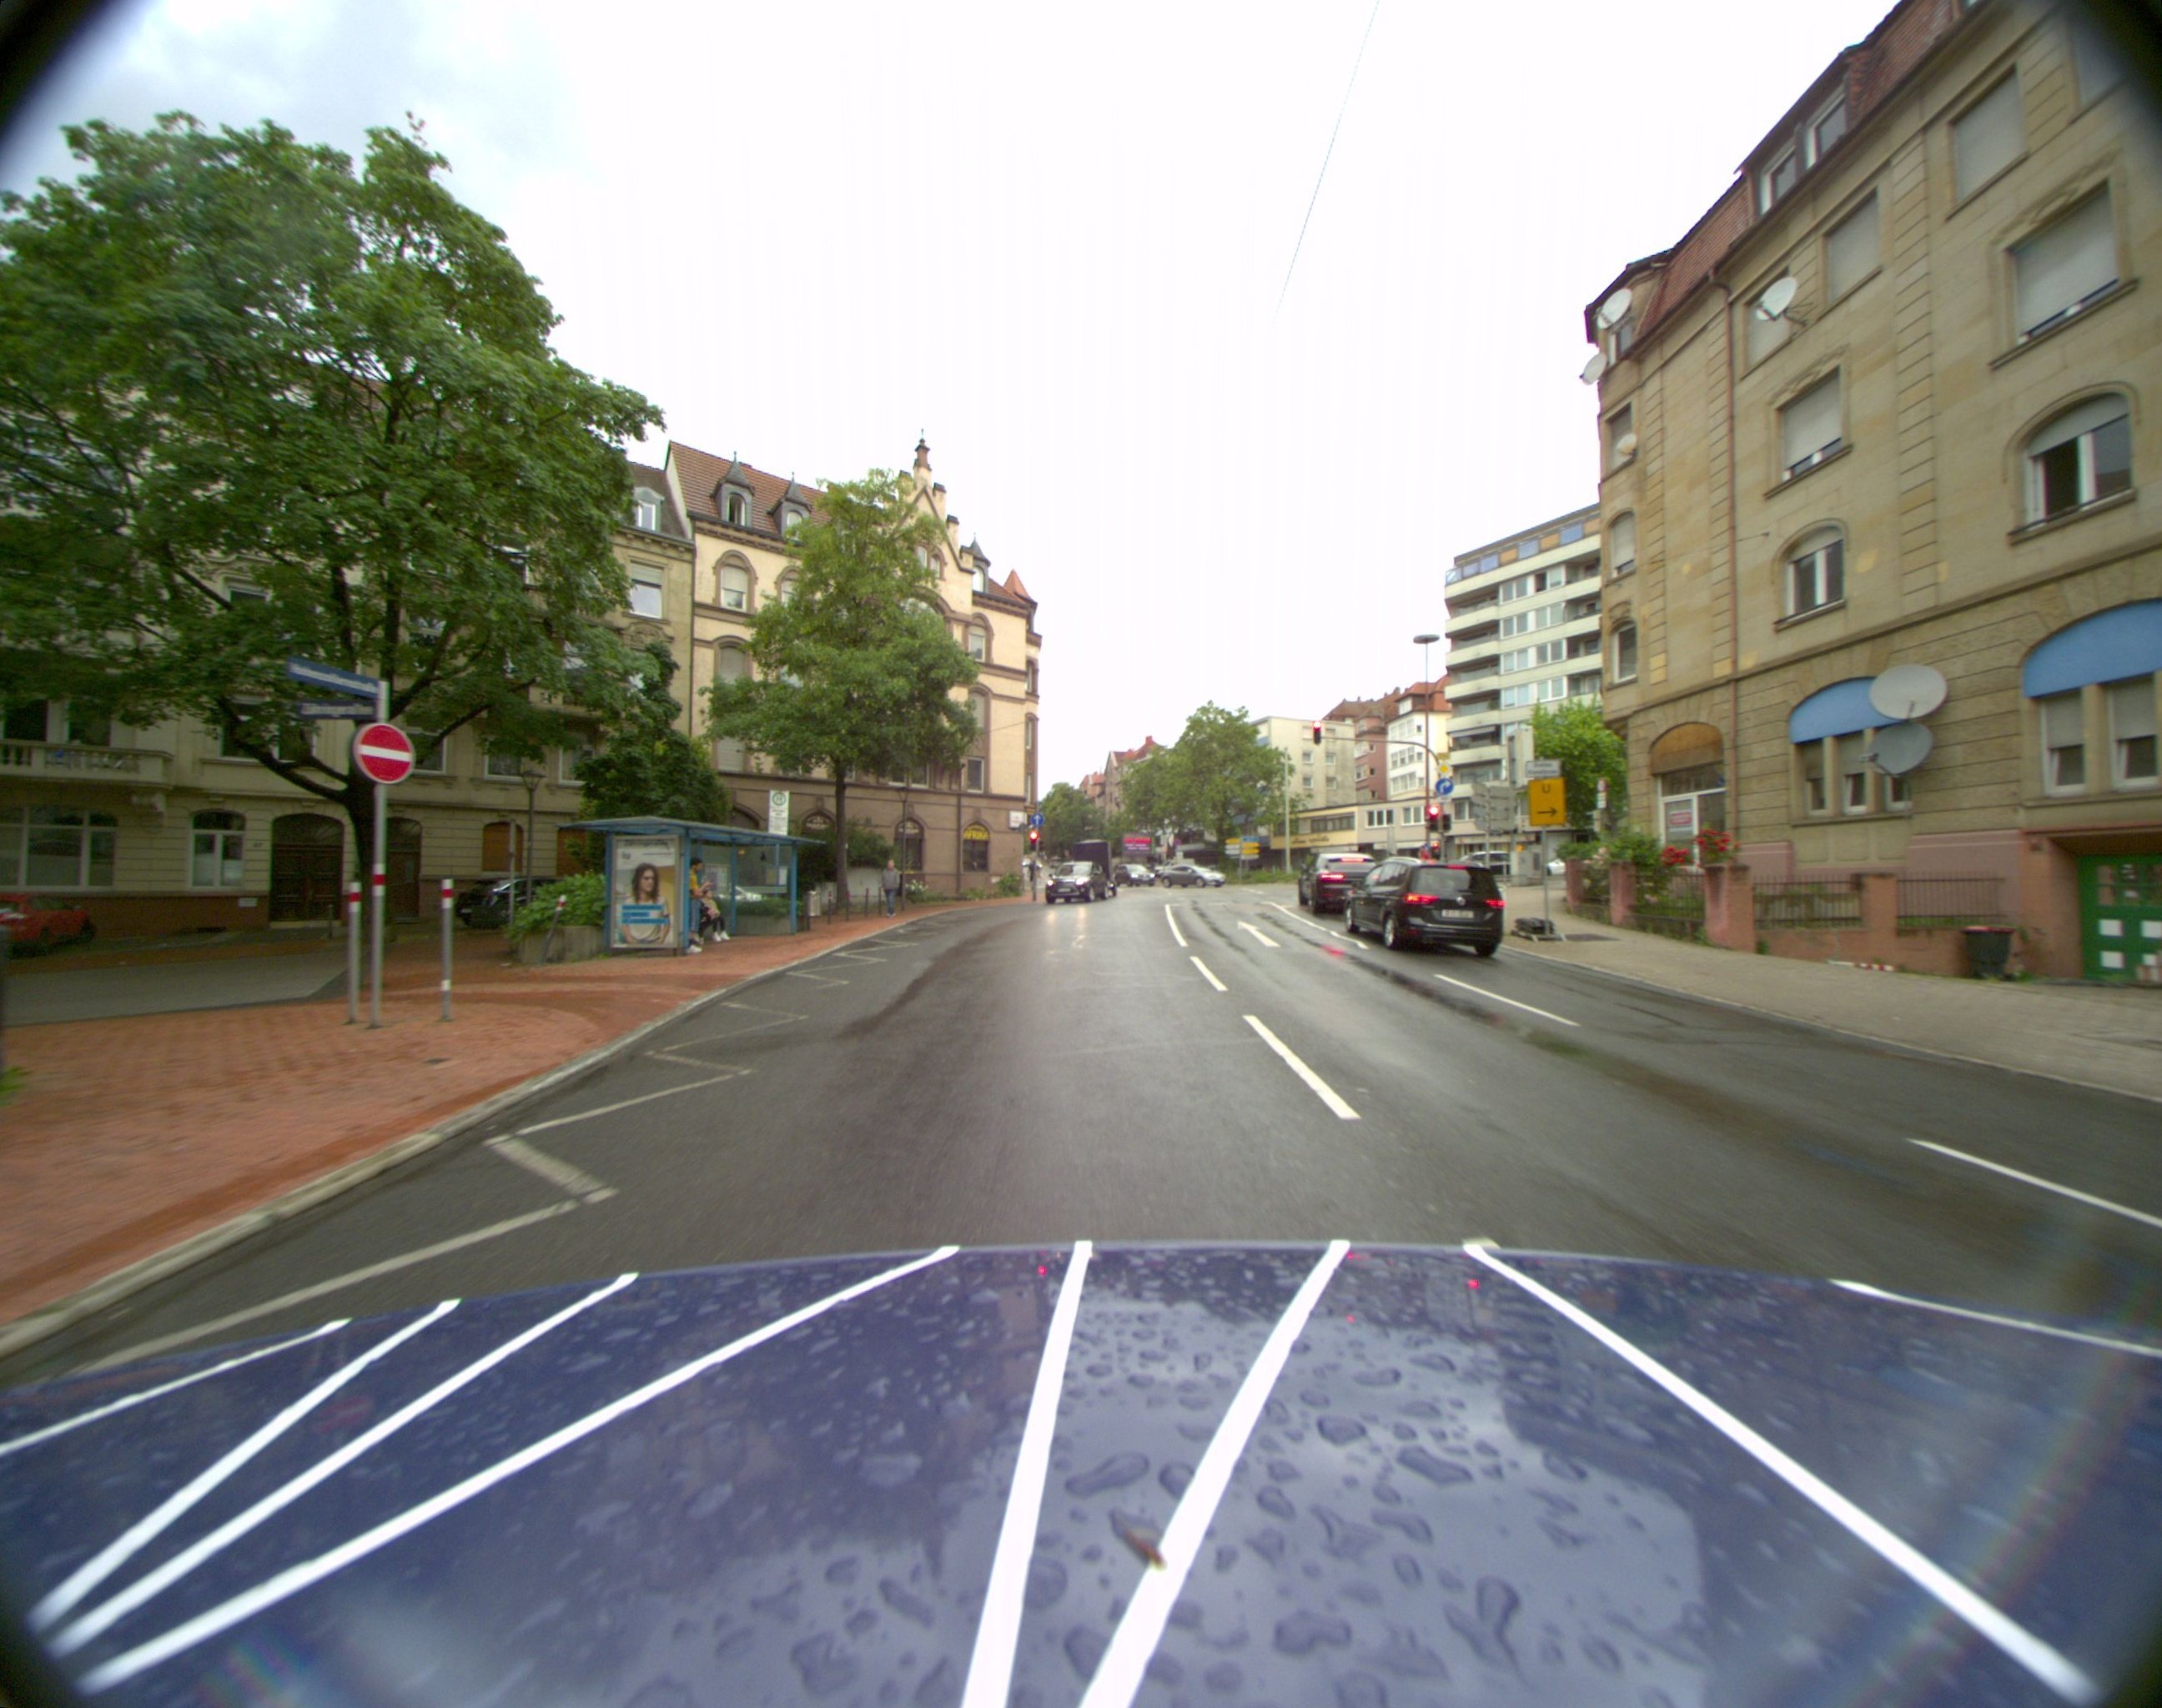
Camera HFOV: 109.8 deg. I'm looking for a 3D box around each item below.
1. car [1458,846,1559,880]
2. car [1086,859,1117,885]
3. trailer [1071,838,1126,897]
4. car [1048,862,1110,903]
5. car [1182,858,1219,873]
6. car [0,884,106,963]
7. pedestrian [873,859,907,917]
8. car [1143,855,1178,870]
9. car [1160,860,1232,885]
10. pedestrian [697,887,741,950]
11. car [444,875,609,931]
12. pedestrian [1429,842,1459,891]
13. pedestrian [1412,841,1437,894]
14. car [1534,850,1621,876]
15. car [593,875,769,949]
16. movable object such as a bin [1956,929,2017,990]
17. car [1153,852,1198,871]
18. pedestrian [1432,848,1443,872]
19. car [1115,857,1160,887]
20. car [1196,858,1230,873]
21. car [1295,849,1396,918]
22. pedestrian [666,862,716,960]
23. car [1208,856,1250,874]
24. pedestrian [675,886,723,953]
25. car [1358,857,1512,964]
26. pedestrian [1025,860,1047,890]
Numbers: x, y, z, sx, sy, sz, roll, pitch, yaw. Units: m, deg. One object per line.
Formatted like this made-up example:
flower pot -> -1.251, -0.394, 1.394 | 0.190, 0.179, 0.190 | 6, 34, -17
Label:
car -> 21.704, 0.459, 38.759 | 4.206, 1.526, 1.760 | -2, 0, 18
car -> 1.691, 1.481, 63.828 | 1.916, 2.002, 4.453 | -2, 0, -6
trailer -> 0.932, 0.615, 36.636 | 1.937, 2.621, 4.687 | -2, 0, 10
car -> -0.011, 1.114, 30.809 | 1.860, 1.503, 3.685 | 0, 0, 11
car -> 13.158, 1.232, 83.778 | 3.711, 1.408, 1.808 | -3, 1, -33
car -> -25.601, 1.631, 18.152 | 1.880, 1.520, 3.988 | -3, 3, -38
pedestrian -> -5.741, 1.017, 22.876 | 0.572, 1.723, 0.733 | -2, 0, 28
car -> 9.724, 0.986, 93.130 | 3.841, 1.680, 1.802 | -2, 1, -26
car -> 7.089, 1.154, 47.096 | 1.761, 1.474, 4.169 | -1, -1, -44
pedestrian -> -7.637, 1.346, 16.033 | 0.570, 1.272, 0.535 | -3, 0, 10
car -> -17.530, 1.512, 24.235 | 1.768, 1.467, 3.856 | -3, 0, 23
pedestrian -> 12.922, 0.457, 27.069 | 0.638, 1.692, 0.829 | -3, 0, 3
pedestrian -> 11.690, 0.455, 25.866 | 0.523, 1.763, 0.694 | -3, 0, 7
car -> 31.728, 0.584, 48.716 | 4.383, 1.482, 1.917 | -3, 0, 23
car -> -10.378, 1.453, 19.830 | 3.681, 1.493, 1.767 | -4, 0, -40
movable object such as a bin -> 14.974, 1.745, 12.572 | 0.476, 0.944, 0.417 | -2, 1, 6
car -> 10.966, 0.809, 88.284 | 4.983, 1.966, 1.876 | -2, 1, -28
pedestrian -> 25.369, 0.398, 54.042 | 0.618, 1.683, 0.626 | 0, 1, 36
car -> 4.015, 1.252, 54.692 | 1.917, 2.002, 4.504 | -2, 0, -12
car -> 14.220, 1.235, 81.800 | 3.628, 1.408, 1.626 | -3, 1, -37
car -> 7.576, 0.763, 22.202 | 1.968, 1.683, 4.810 | -1, 1, 9
pedestrian -> -7.269, 1.052, 14.163 | 0.559, 1.765, 0.546 | -2, 0, 29
car -> 15.438, 1.104, 79.085 | 4.223, 1.633, 1.936 | -3, 1, -37
pedestrian -> -7.739, 1.318, 15.408 | 0.570, 1.272, 0.619 | -3, 0, 10
car -> 6.508, 0.913, 14.477 | 1.623, 1.639, 4.424 | 2, 0, 12
pedestrian -> -2.521, 1.146, 42.847 | 0.896, 1.669, 0.828 | 0, 0, -41
